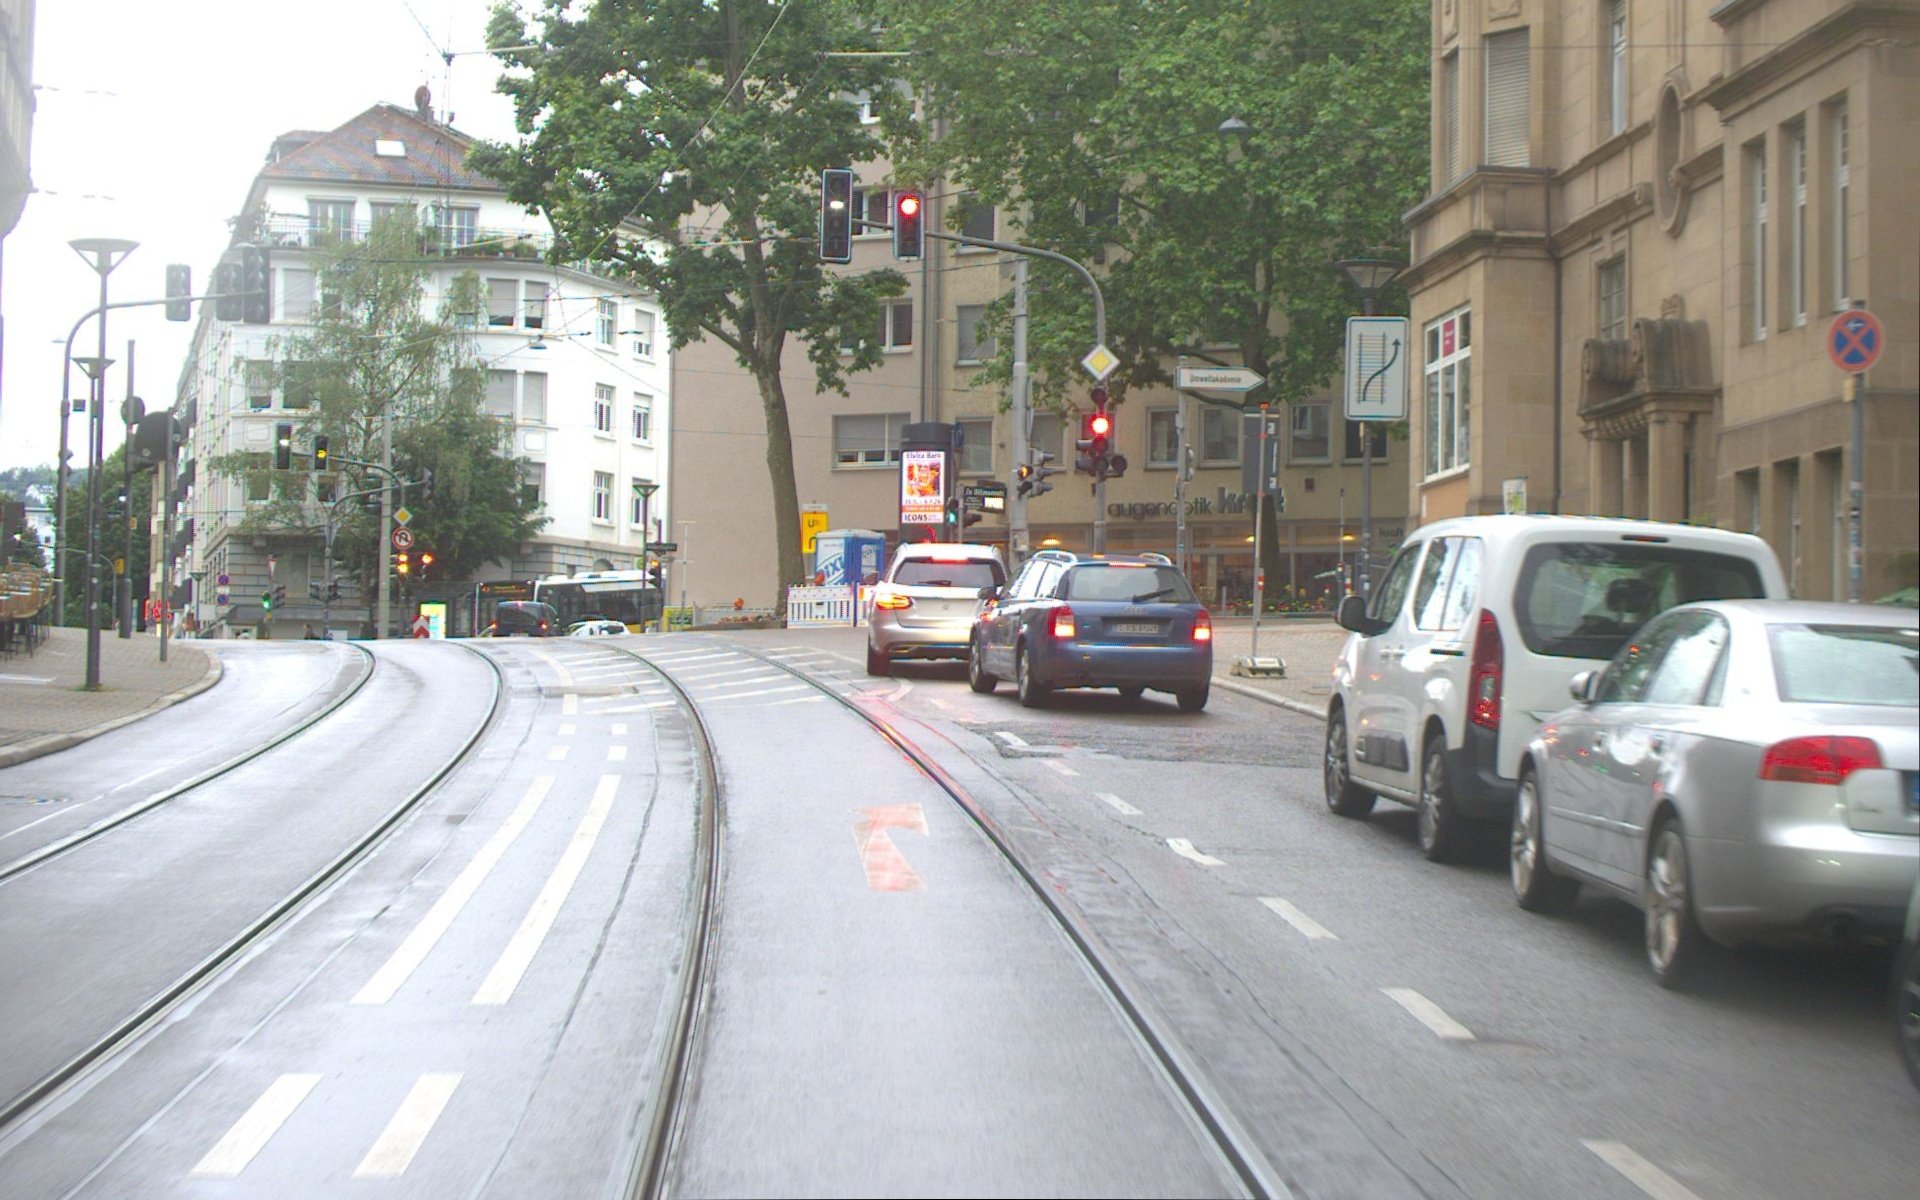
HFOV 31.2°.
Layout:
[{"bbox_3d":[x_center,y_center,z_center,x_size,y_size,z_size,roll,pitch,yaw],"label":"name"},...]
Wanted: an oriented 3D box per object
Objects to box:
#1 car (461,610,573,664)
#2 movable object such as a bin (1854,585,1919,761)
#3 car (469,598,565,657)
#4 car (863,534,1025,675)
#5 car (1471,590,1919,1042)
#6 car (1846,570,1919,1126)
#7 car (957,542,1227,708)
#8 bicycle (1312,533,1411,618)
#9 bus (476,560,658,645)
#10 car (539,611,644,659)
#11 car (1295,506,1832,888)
[{"bbox_3d":[-14.345,1.180,111.593,1.796,1.609,3.995,1,1,24],"label":"car"},{"bbox_3d":[8.207,0.634,28.649,0.971,1.427,1.280,5,-1,-6],"label":"movable object such as a bin"},{"bbox_3d":[-12.266,0.750,95.440,1.794,1.505,3.999,-2,1,5],"label":"car"},{"bbox_3d":[-0.219,0.020,38.861,1.710,1.451,3.553,2,1,-1],"label":"car"},{"bbox_3d":[3.336,0.737,13.583,1.748,1.396,4.479,3,1,-2],"label":"car"},{"bbox_3d":[3.565,0.755,8.430,1.560,1.541,3.585,3,1,-4],"label":"car"},{"bbox_3d":[1.194,0.195,32.985,1.710,1.410,4.037,2,1,-10],"label":"car"},{"bbox_3d":[5.742,-0.354,49.182,1.300,1.169,0.526,-1,1,-6],"label":"bicycle"},{"bbox_3d":[-13.904,0.022,122.459,2.857,2.851,8.724,1,1,20],"label":"bus"},{"bbox_3d":[-12.453,1.173,116.470,1.796,1.505,3.995,1,1,24],"label":"car"},{"bbox_3d":[3.145,0.433,18.880,1.797,1.759,4.463,3,1,-4],"label":"car"}]
